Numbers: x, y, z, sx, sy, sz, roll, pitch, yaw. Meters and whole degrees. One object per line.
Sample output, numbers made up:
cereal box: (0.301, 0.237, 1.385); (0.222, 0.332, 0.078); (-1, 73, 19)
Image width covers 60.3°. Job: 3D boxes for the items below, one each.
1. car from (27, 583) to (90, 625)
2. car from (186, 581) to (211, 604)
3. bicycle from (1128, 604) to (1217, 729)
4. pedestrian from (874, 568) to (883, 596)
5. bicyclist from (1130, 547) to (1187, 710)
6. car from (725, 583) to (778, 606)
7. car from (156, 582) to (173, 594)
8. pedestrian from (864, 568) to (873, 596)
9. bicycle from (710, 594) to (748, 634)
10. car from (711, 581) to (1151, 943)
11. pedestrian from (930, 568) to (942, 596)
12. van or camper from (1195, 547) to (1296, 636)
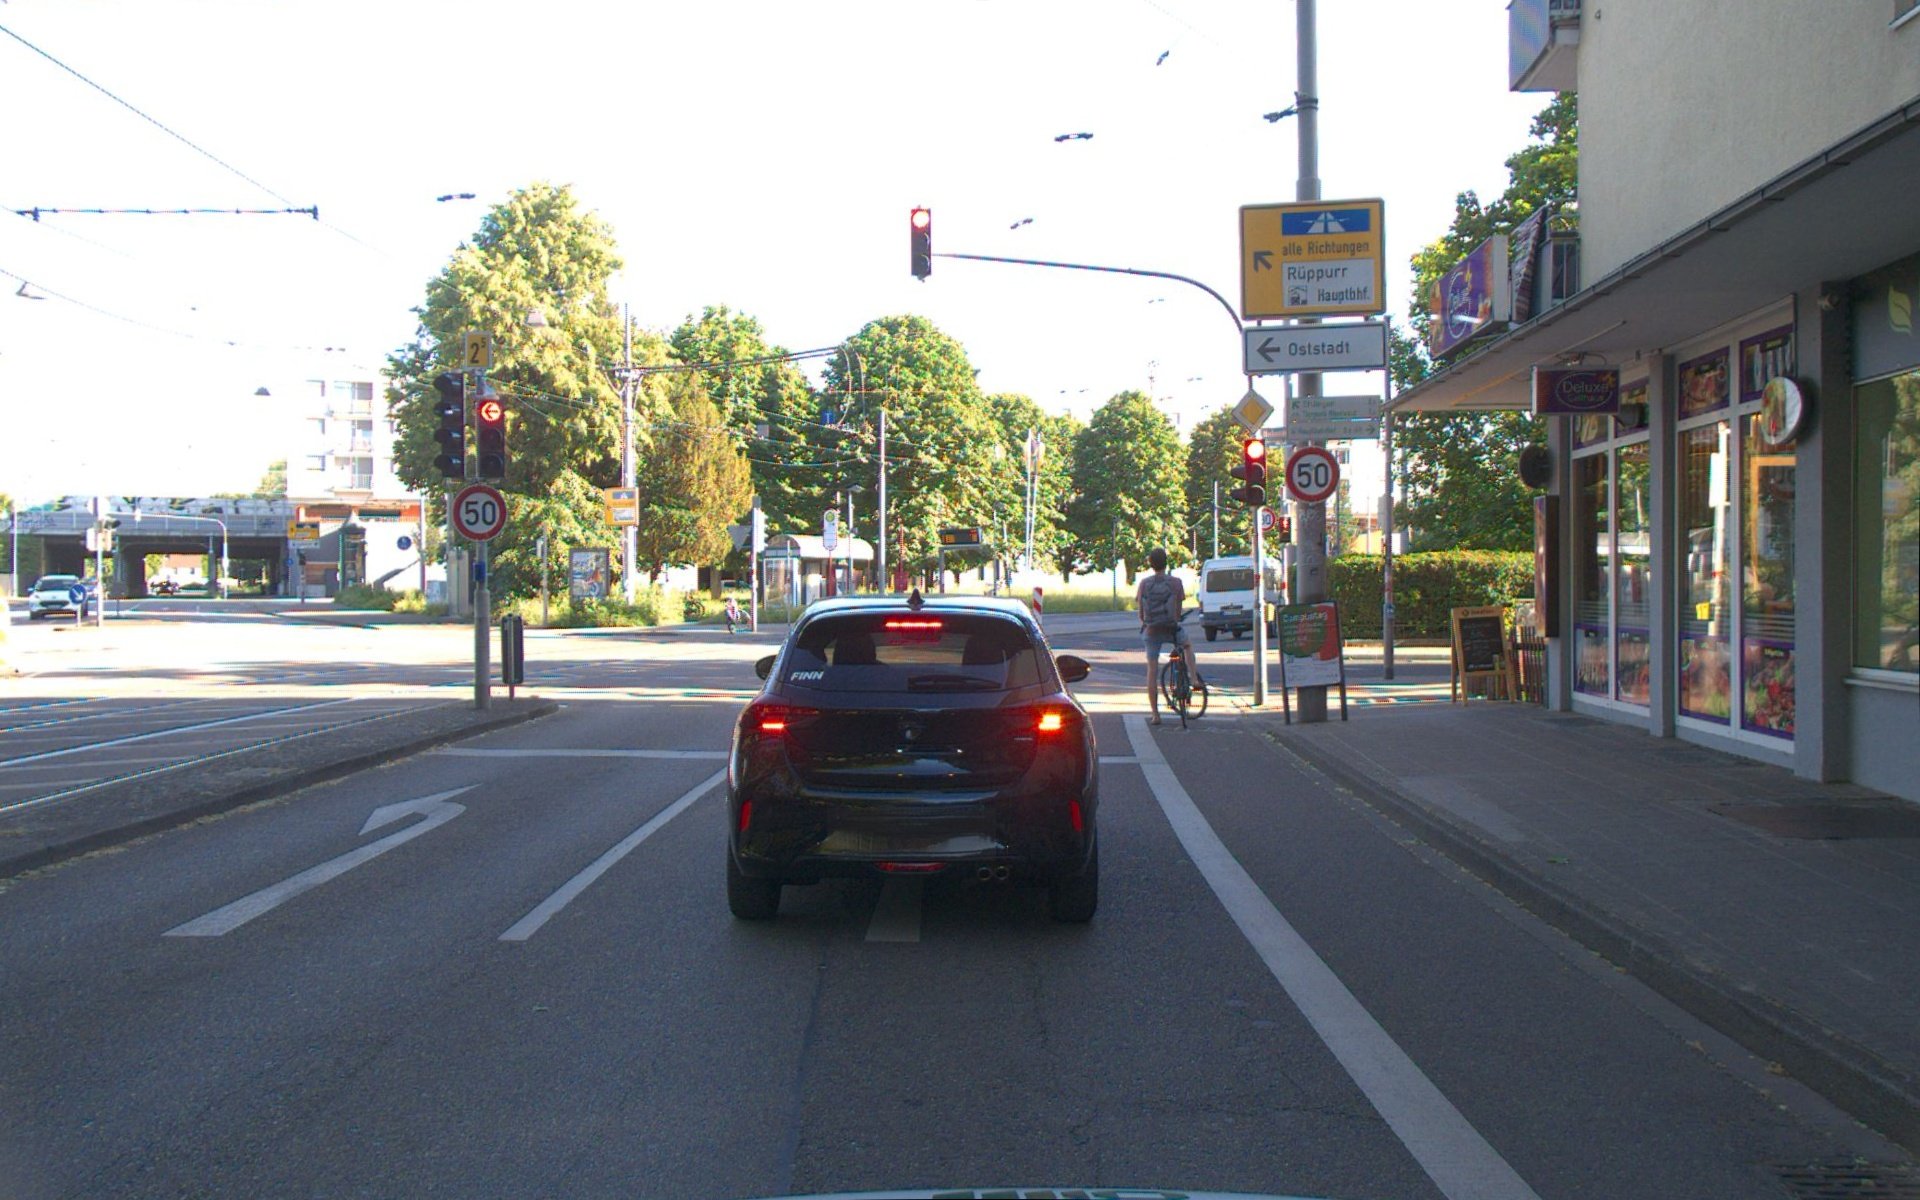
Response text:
car: (-36.259, 0.154, 66.567); (1.860, 1.613, 3.809); (1, 0, -24)
car: (-59.257, -0.568, 128.767); (1.732, 1.713, 3.712); (1, 0, -25)
bicycle: (2.344, 0.688, 18.037); (0.737, 1.256, 2.017); (0, 1, 14)
pedestrian: (-5.747, -1.260, 116.708); (0.592, 1.904, 0.519); (1, -1, -7)
bicyclist: (2.137, 0.294, 17.797); (0.522, 1.722, 0.568); (0, 0, 16)
car: (-15.034, -0.391, 119.394); (3.489, 1.596, 1.535); (1, 0, -24)
car: (-89.972, -1.334, 187.039); (1.562, 1.282, 3.394); (-1, 1, -30)
pedestrian: (-6.454, -1.271, 117.052); (0.592, 1.904, 0.519); (1, -1, -7)
bicycle: (-6.477, 0.387, 46.454); (0.780, 1.083, 2.184); (0, 1, -1)
car: (-0.144, 0.648, 8.796); (1.803, 1.487, 3.983); (0, 1, -1)
pedestrian: (-1.634, -1.214, 111.396); (0.597, 1.904, 0.514); (1, -1, -31)
van or camper: (8.063, -0.224, 46.409); (1.987, 2.351, 4.540); (1, 0, 20)
